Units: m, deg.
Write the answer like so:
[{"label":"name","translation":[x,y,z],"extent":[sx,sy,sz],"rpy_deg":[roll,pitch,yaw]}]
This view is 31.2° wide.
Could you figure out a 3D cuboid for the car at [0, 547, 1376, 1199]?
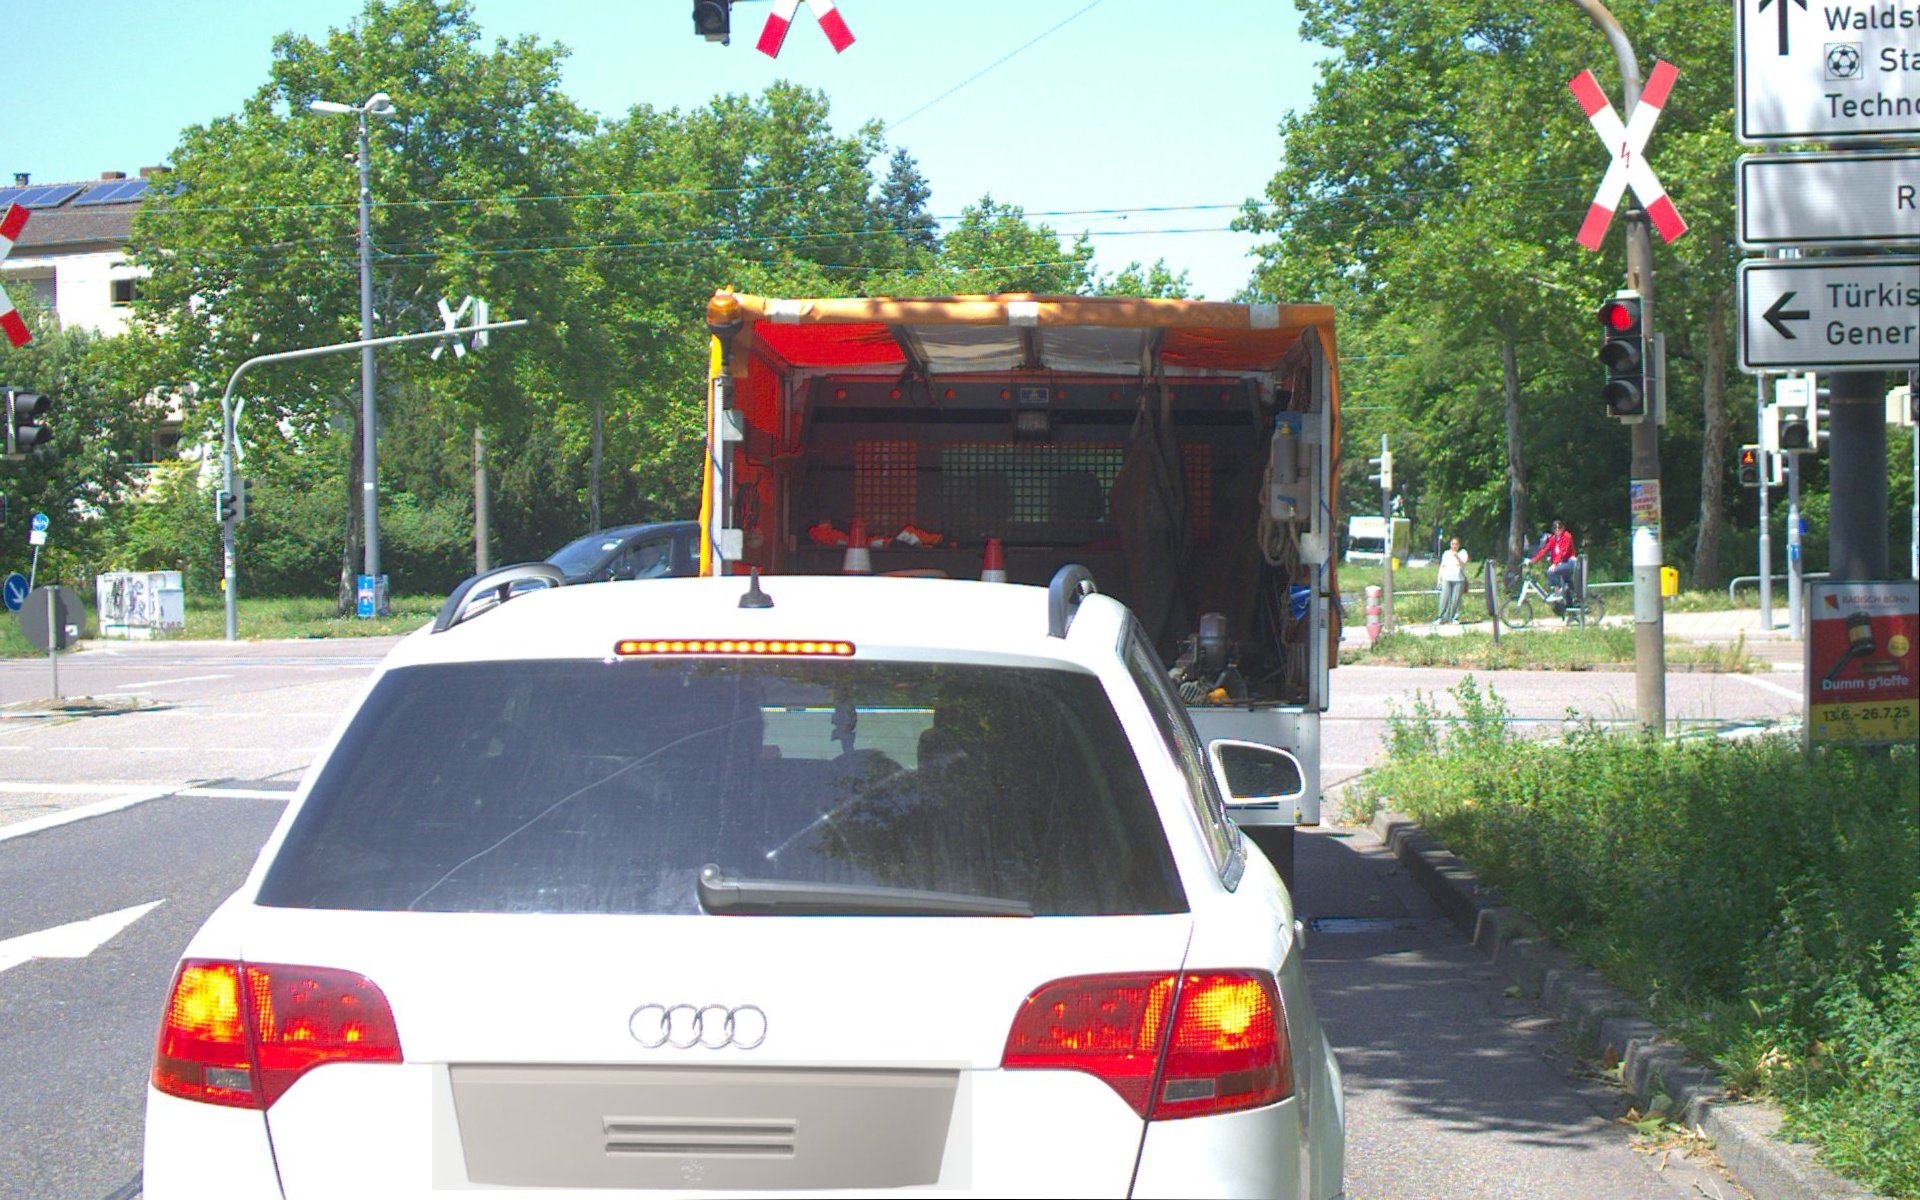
[{"label":"car","translation":[-0.271,0.638,5.976],"extent":[1.763,1.440,3.615],"rpy_deg":[0,1,4]}]

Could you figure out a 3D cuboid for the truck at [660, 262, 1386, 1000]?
[{"label":"truck","translation":[0.387,0.054,15.849],"extent":[2.511,2.551,7.603],"rpy_deg":[1,1,3]}]

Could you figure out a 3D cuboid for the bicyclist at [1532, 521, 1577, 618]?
[{"label":"bicyclist","translation":[9.657,-0.500,55.826],"extent":[0.671,1.551,0.579],"rpy_deg":[-1,1,7]}]

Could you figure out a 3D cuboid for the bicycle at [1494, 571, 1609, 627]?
[{"label":"bicycle","translation":[9.600,-0.015,55.822],"extent":[1.806,0.892,0.589],"rpy_deg":[0,1,7]}]

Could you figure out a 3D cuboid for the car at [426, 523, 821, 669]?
[{"label":"car","translation":[-4.134,-0.077,42.437],"extent":[4.429,1.673,1.918],"rpy_deg":[-1,1,-31]}]

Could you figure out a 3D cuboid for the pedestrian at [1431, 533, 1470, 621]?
[{"label":"pedestrian","translation":[8.340,-0.399,58.423],"extent":[0.553,1.479,0.629],"rpy_deg":[-1,1,16]}]

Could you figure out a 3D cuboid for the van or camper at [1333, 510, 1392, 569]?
[{"label":"van or camper","translation":[23.418,-3.504,199.876],"extent":[2.662,3.320,5.497],"rpy_deg":[0,1,14]}]
